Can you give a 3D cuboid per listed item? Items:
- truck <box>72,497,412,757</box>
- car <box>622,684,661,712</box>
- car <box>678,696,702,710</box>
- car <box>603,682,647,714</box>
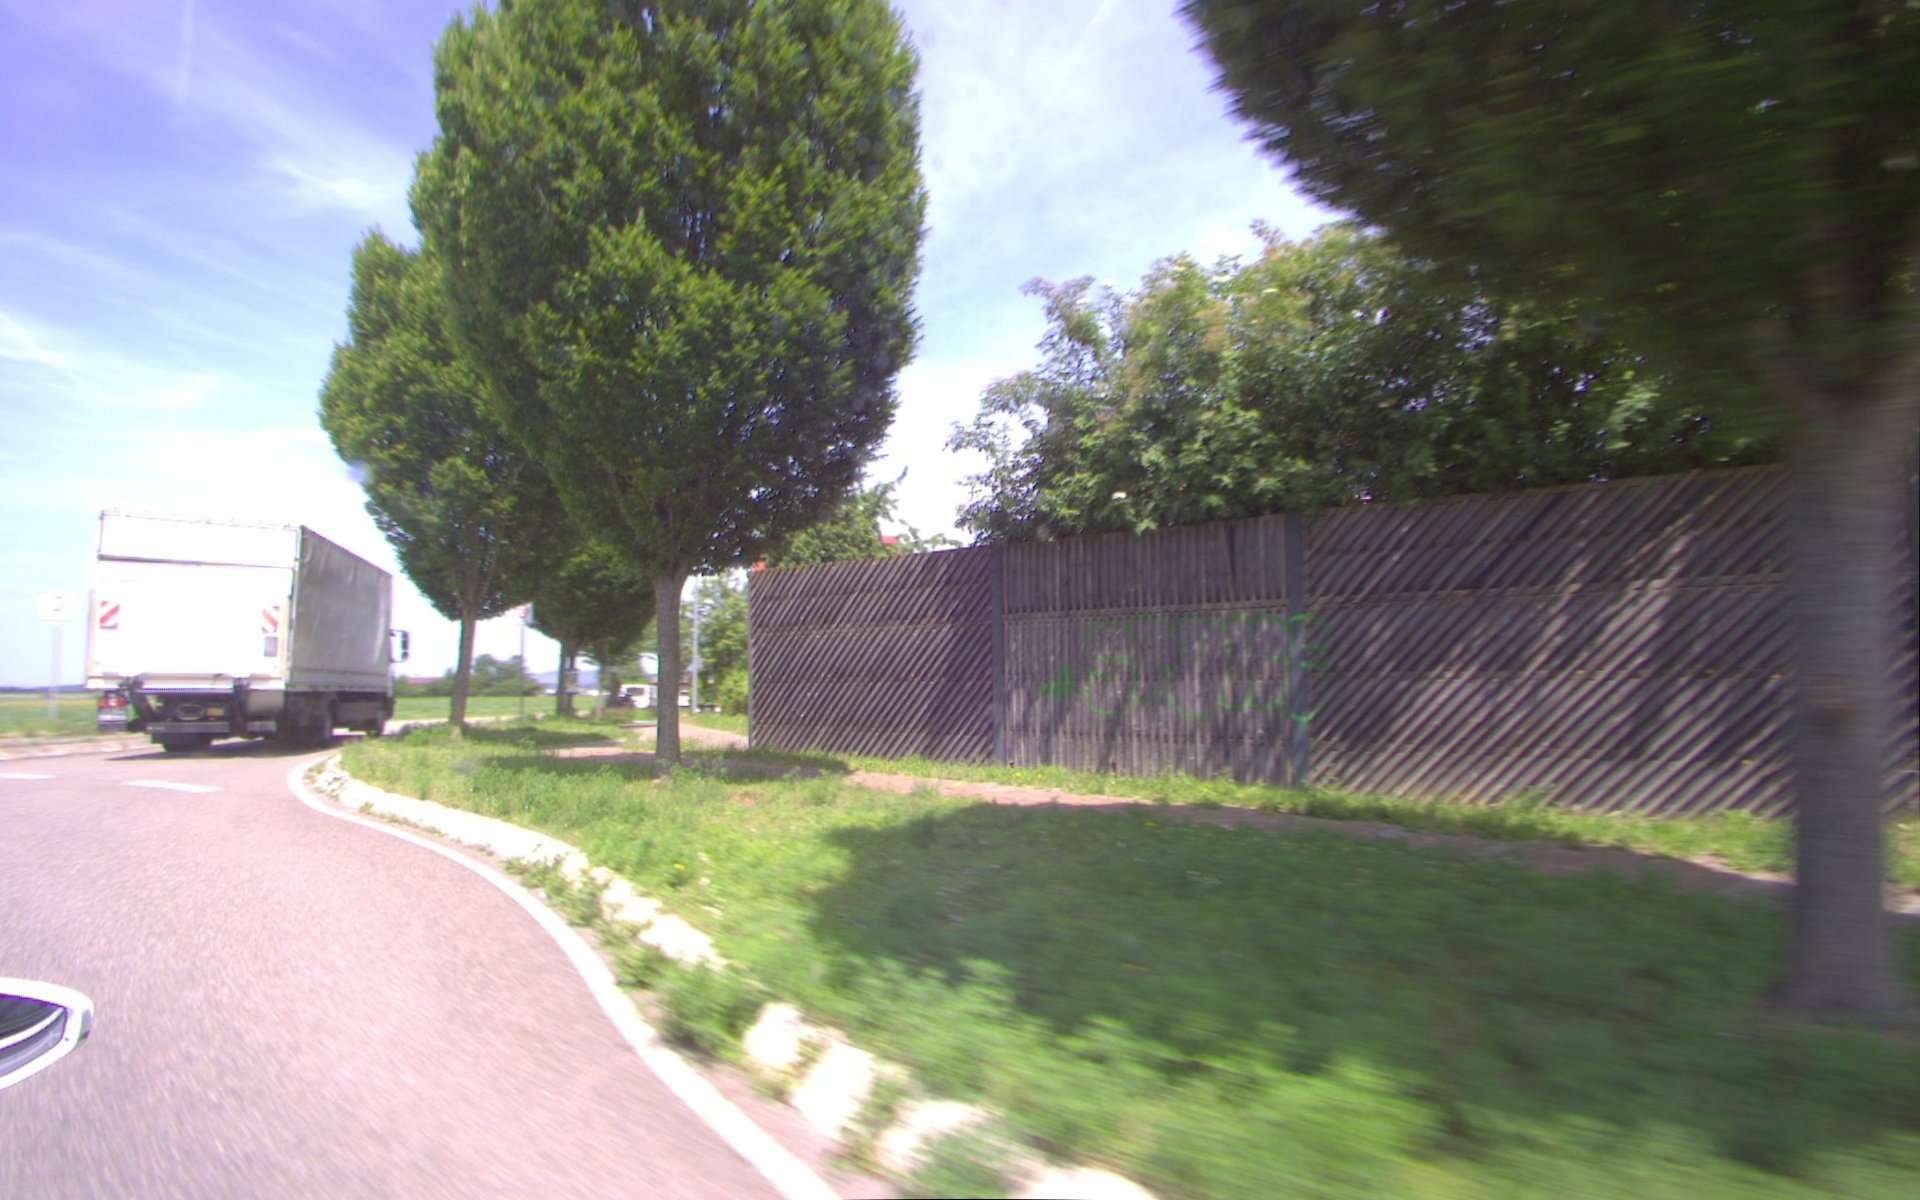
[{"bbox_3d":[-12.921,0.807,19.201,2.730,3.713,9.369,2,-5,-20],"label":"truck"},{"bbox_3d":[-20.717,6.413,65.258,1.963,1.736,4.004,1,-6,-11],"label":"car"},{"bbox_3d":[-22.273,8.491,82.811,1.339,1.150,3.212,0,-5,-5],"label":"car"},{"bbox_3d":[-19.885,5.845,59.563,1.963,1.814,4.003,1,-5,-11],"label":"car"}]
